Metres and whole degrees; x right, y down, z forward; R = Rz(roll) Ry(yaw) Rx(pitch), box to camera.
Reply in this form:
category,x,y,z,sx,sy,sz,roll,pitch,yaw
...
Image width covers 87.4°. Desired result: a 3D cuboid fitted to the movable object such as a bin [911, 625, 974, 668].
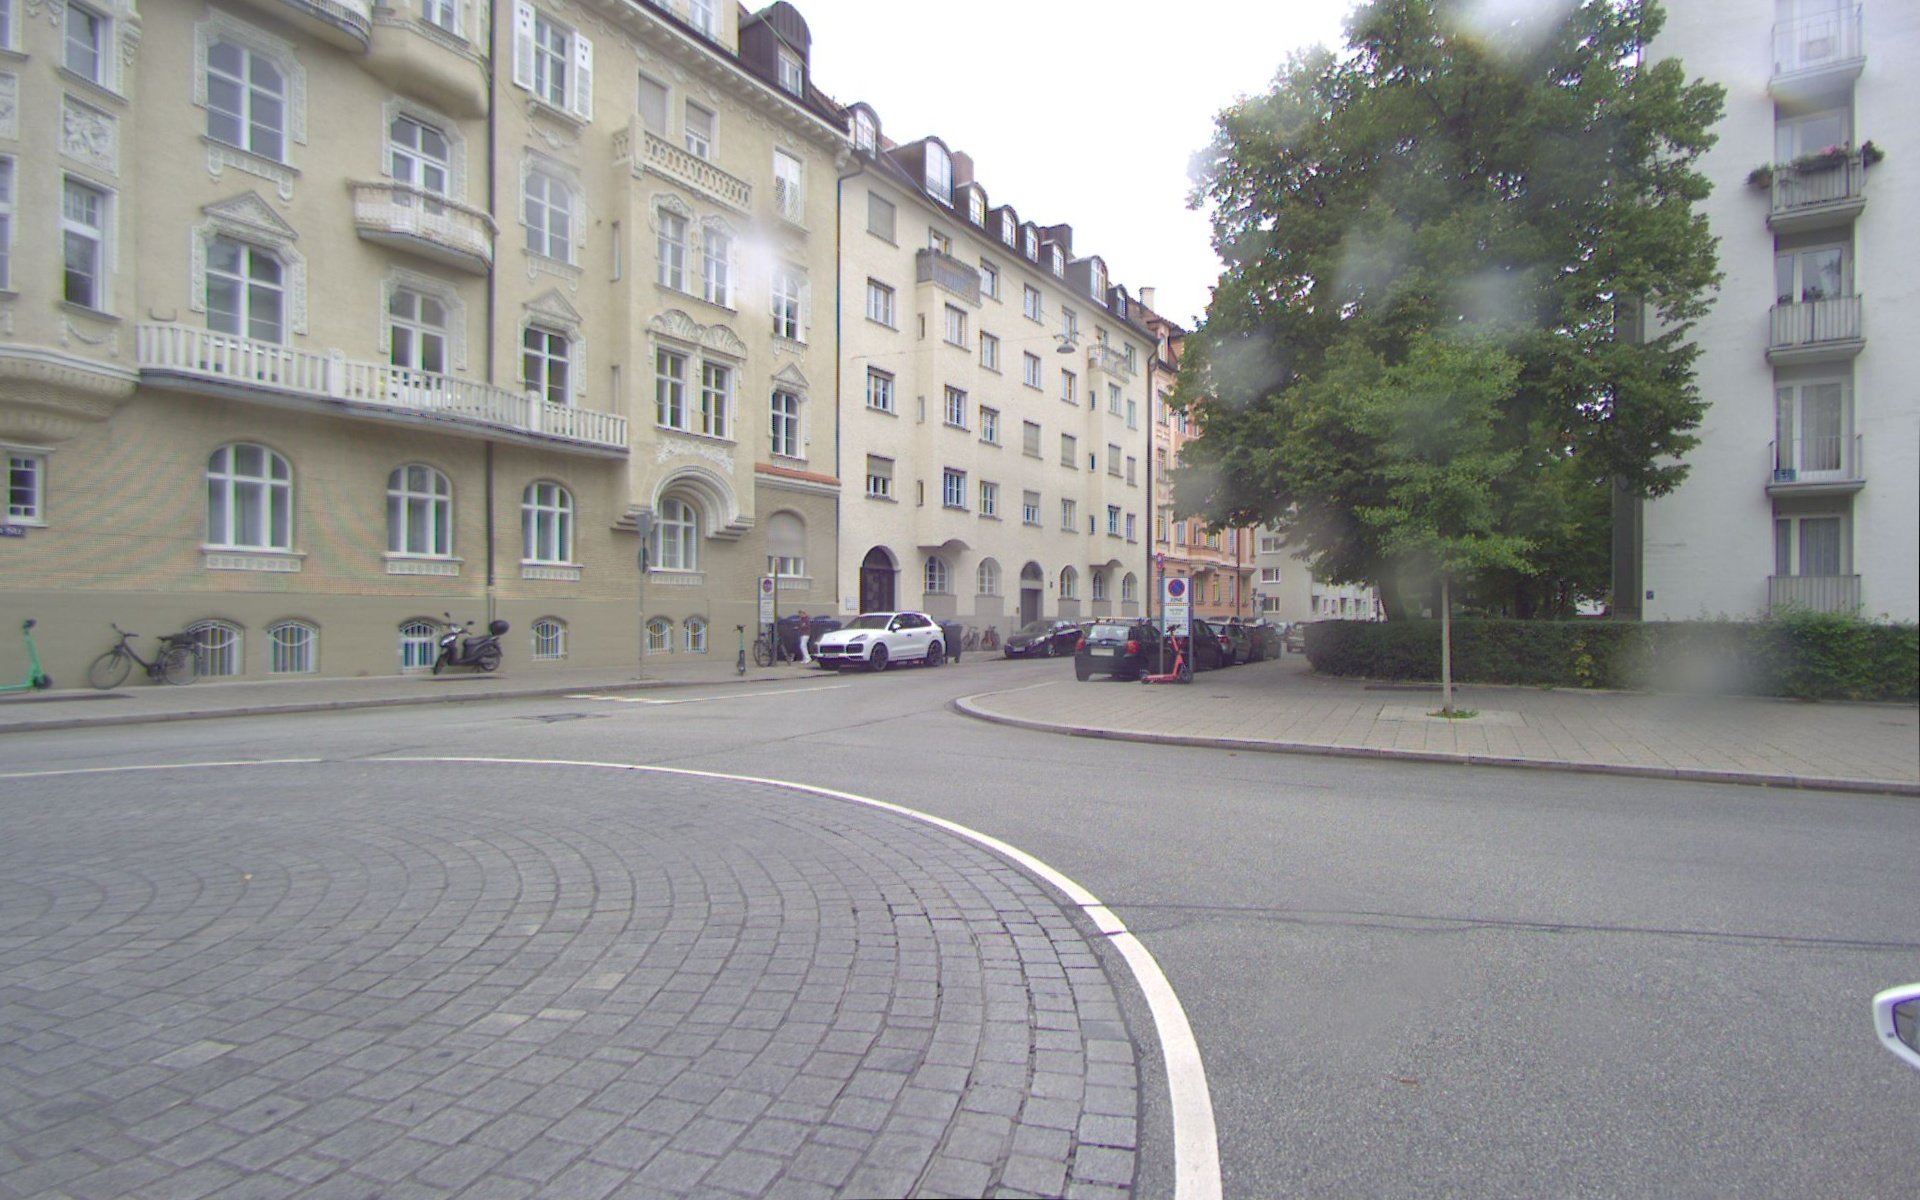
category,x,y,z,sx,sy,sz,roll,pitch,yaw
movable object such as a bin,-0.587,1.531,33.671,1.536,1.367,1.533,0,-1,34

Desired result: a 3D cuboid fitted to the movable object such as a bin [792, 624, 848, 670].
category,x,y,z,sx,sy,sz,roll,pitch,yaw
movable object such as a bin,-4.607,1.528,33.094,1.322,1.477,1.293,-1,-1,33

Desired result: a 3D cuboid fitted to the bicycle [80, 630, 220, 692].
category,x,y,z,sx,sy,sz,roll,pitch,yaw
bicycle,-14.580,1.074,18.140,0.551,1.036,1.878,0,-1,32

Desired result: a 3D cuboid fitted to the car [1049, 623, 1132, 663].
category,x,y,z,sx,sy,sz,roll,pitch,yaw
car,5.633,1.786,42.937,1.965,1.617,4.202,0,-1,31

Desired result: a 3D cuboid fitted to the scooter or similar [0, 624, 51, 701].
category,x,y,z,sx,sy,sz,roll,pitch,yaw
scooter or similar,-15.390,0.988,16.215,0.521,1.181,1.351,0,-1,-17

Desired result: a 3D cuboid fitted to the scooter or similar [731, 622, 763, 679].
category,x,y,z,sx,sy,sz,roll,pitch,yaw
scooter or similar,-5.469,1.280,25.731,0.697,1.413,1.351,0,-1,-17

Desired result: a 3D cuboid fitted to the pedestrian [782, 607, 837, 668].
category,x,y,z,sx,sy,sz,roll,pitch,yaw
pedestrian,-4.626,1.131,30.948,1.113,1.828,1.268,-1,-1,33

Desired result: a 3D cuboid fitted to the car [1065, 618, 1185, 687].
category,x,y,z,sx,sy,sz,roll,pitch,yaw
car,4.195,1.236,25.037,1.744,1.538,4.029,0,-1,28

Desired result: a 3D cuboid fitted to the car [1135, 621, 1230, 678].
category,x,y,z,sx,sy,sz,roll,pitch,yaw
car,6.669,1.406,29.845,1.744,1.538,4.029,0,-1,28

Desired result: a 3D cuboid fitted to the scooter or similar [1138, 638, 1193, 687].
category,x,y,z,sx,sy,sz,roll,pitch,yaw
scooter or similar,4.459,1.353,21.815,1.119,1.039,0.379,0,-1,20

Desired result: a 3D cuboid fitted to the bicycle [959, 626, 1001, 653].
category,x,y,z,sx,sy,sz,roll,pitch,yaw
bicycle,0.869,1.673,42.703,0.742,1.124,2.289,0,-1,32

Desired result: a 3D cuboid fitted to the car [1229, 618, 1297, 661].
category,x,y,z,sx,sy,sz,roll,pitch,yaw
car,11.738,1.489,38.778,1.744,1.538,4.029,0,-1,28

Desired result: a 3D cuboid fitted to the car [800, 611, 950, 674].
category,x,y,z,sx,sy,sz,roll,pitch,yaw
car,-2.396,1.190,29.697,1.965,1.714,4.799,0,-1,31

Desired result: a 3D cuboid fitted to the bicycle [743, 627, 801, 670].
category,x,y,z,sx,sy,sz,roll,pitch,yaw
bicycle,-5.380,1.370,28.839,0.541,1.165,1.841,0,-1,30

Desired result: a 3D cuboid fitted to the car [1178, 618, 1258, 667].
category,x,y,z,sx,sy,sz,roll,pitch,yaw
car,8.804,1.404,34.061,1.744,1.538,4.029,0,-1,28

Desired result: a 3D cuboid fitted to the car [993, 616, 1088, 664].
category,x,y,z,sx,sy,sz,roll,pitch,yaw
car,3.165,1.489,38.647,1.965,1.714,4.202,0,-1,31

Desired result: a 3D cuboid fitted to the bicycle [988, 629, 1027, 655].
category,x,y,z,sx,sy,sz,roll,pitch,yaw
bicycle,2.141,1.858,44.814,0.742,1.124,2.289,0,-1,32

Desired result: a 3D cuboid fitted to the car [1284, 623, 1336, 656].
category,x,y,z,sx,sy,sz,roll,pitch,yaw
car,17.010,1.877,48.740,1.744,1.538,4.029,0,-1,28

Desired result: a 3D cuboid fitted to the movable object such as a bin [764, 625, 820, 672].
category,x,y,z,sx,sy,sz,roll,pitch,yaw
movable object such as a bin,-5.335,1.522,31.909,1.322,1.477,1.160,-1,-1,33

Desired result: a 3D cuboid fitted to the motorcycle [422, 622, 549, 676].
category,x,y,z,sx,sy,sz,roll,pitch,yaw
motorcycle,-10.960,1.105,23.314,0.989,1.195,2.557,-1,-1,32
